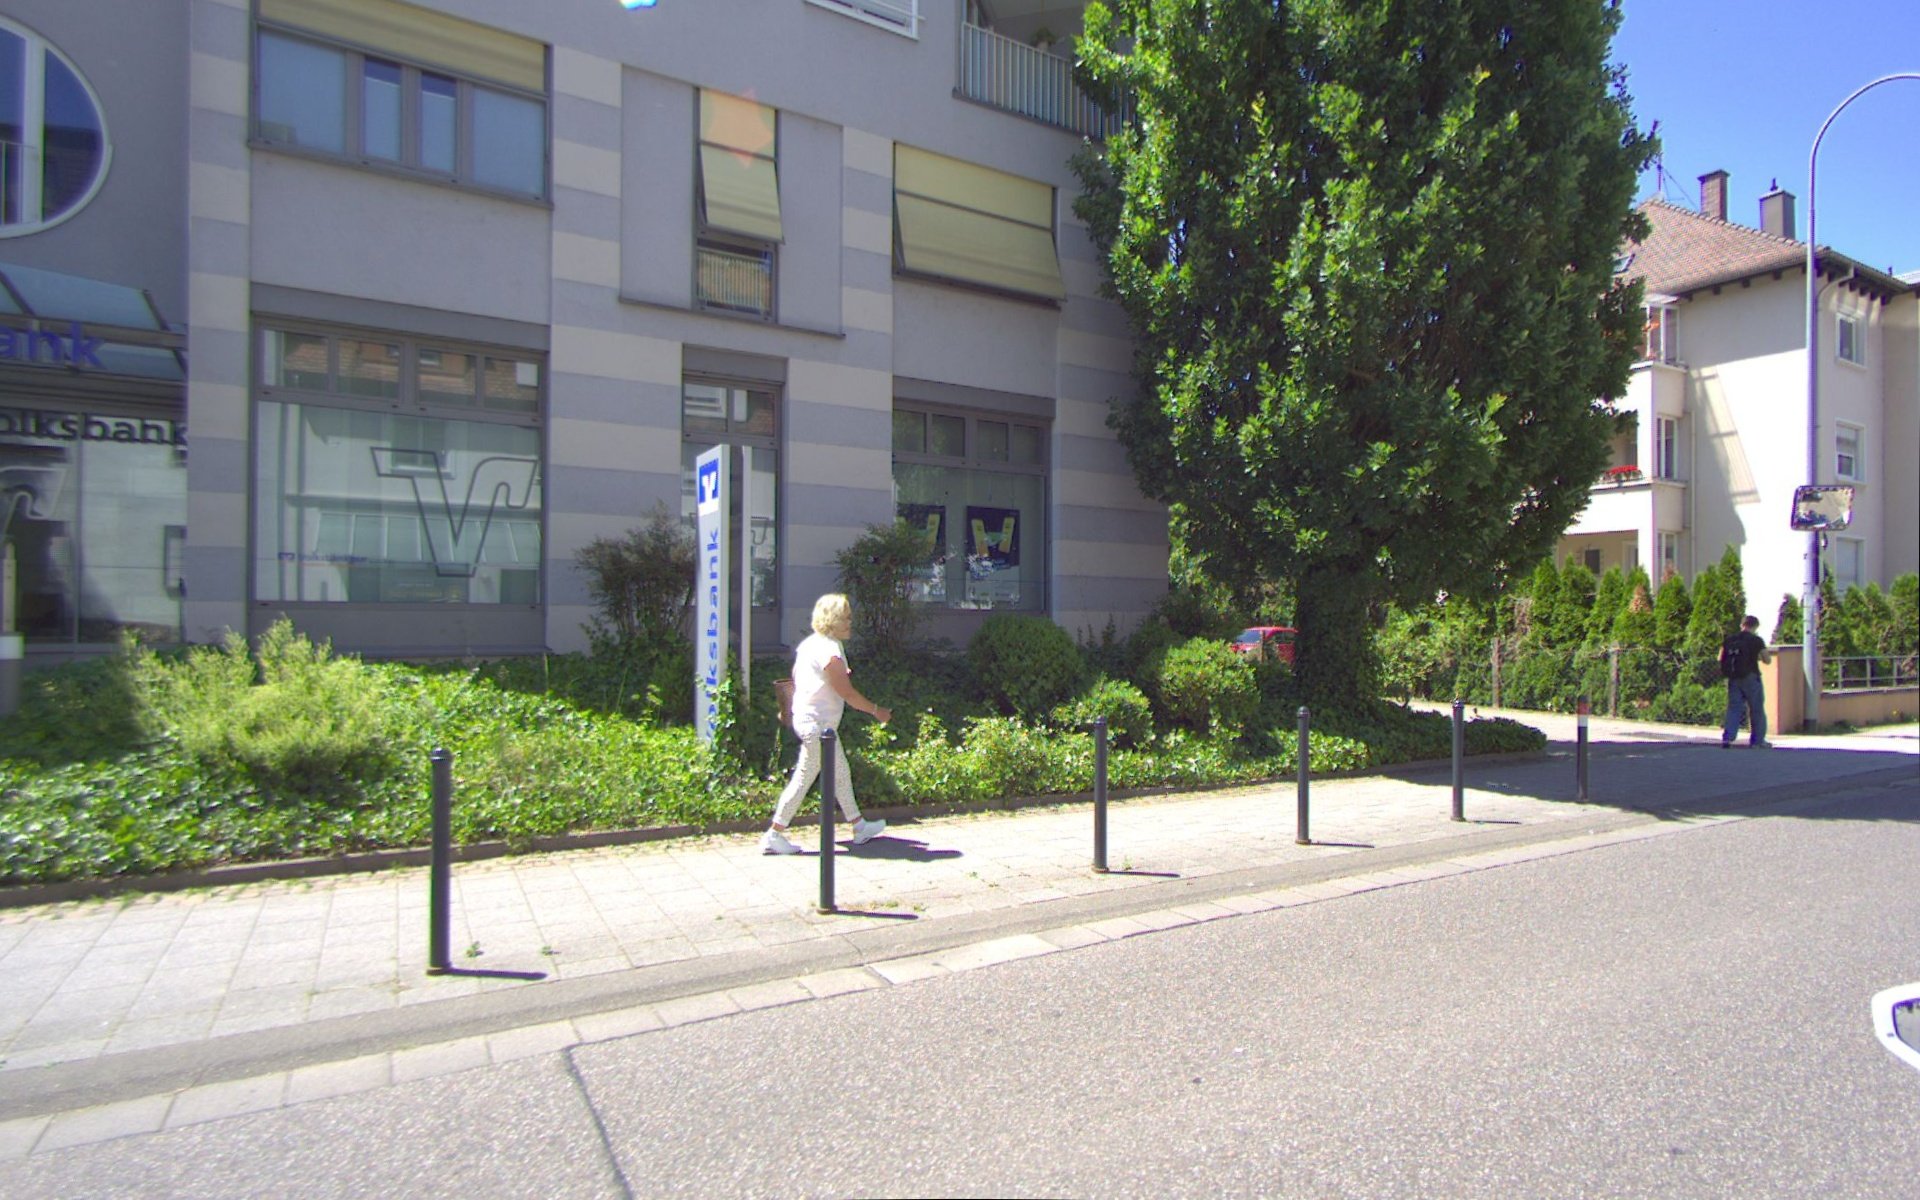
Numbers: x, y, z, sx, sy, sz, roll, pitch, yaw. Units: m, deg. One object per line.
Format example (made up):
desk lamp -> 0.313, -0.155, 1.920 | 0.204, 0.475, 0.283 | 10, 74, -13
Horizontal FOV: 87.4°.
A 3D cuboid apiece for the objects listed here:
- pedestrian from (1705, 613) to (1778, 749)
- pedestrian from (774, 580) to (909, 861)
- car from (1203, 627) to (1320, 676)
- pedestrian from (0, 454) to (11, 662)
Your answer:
pedestrian -> 10.141, 1.034, 13.032 | 0.700, 1.707, 0.534 | 1, -1, -30
pedestrian -> -0.770, 0.744, 6.524 | 0.700, 1.707, 0.534 | 1, -1, -30
car -> 9.464, 1.587, 31.484 | 3.377, 1.439, 1.703 | 1, -1, -31
pedestrian -> -8.488, -0.363, 8.391 | 0.570, 1.762, 0.611 | 0, -1, 25
